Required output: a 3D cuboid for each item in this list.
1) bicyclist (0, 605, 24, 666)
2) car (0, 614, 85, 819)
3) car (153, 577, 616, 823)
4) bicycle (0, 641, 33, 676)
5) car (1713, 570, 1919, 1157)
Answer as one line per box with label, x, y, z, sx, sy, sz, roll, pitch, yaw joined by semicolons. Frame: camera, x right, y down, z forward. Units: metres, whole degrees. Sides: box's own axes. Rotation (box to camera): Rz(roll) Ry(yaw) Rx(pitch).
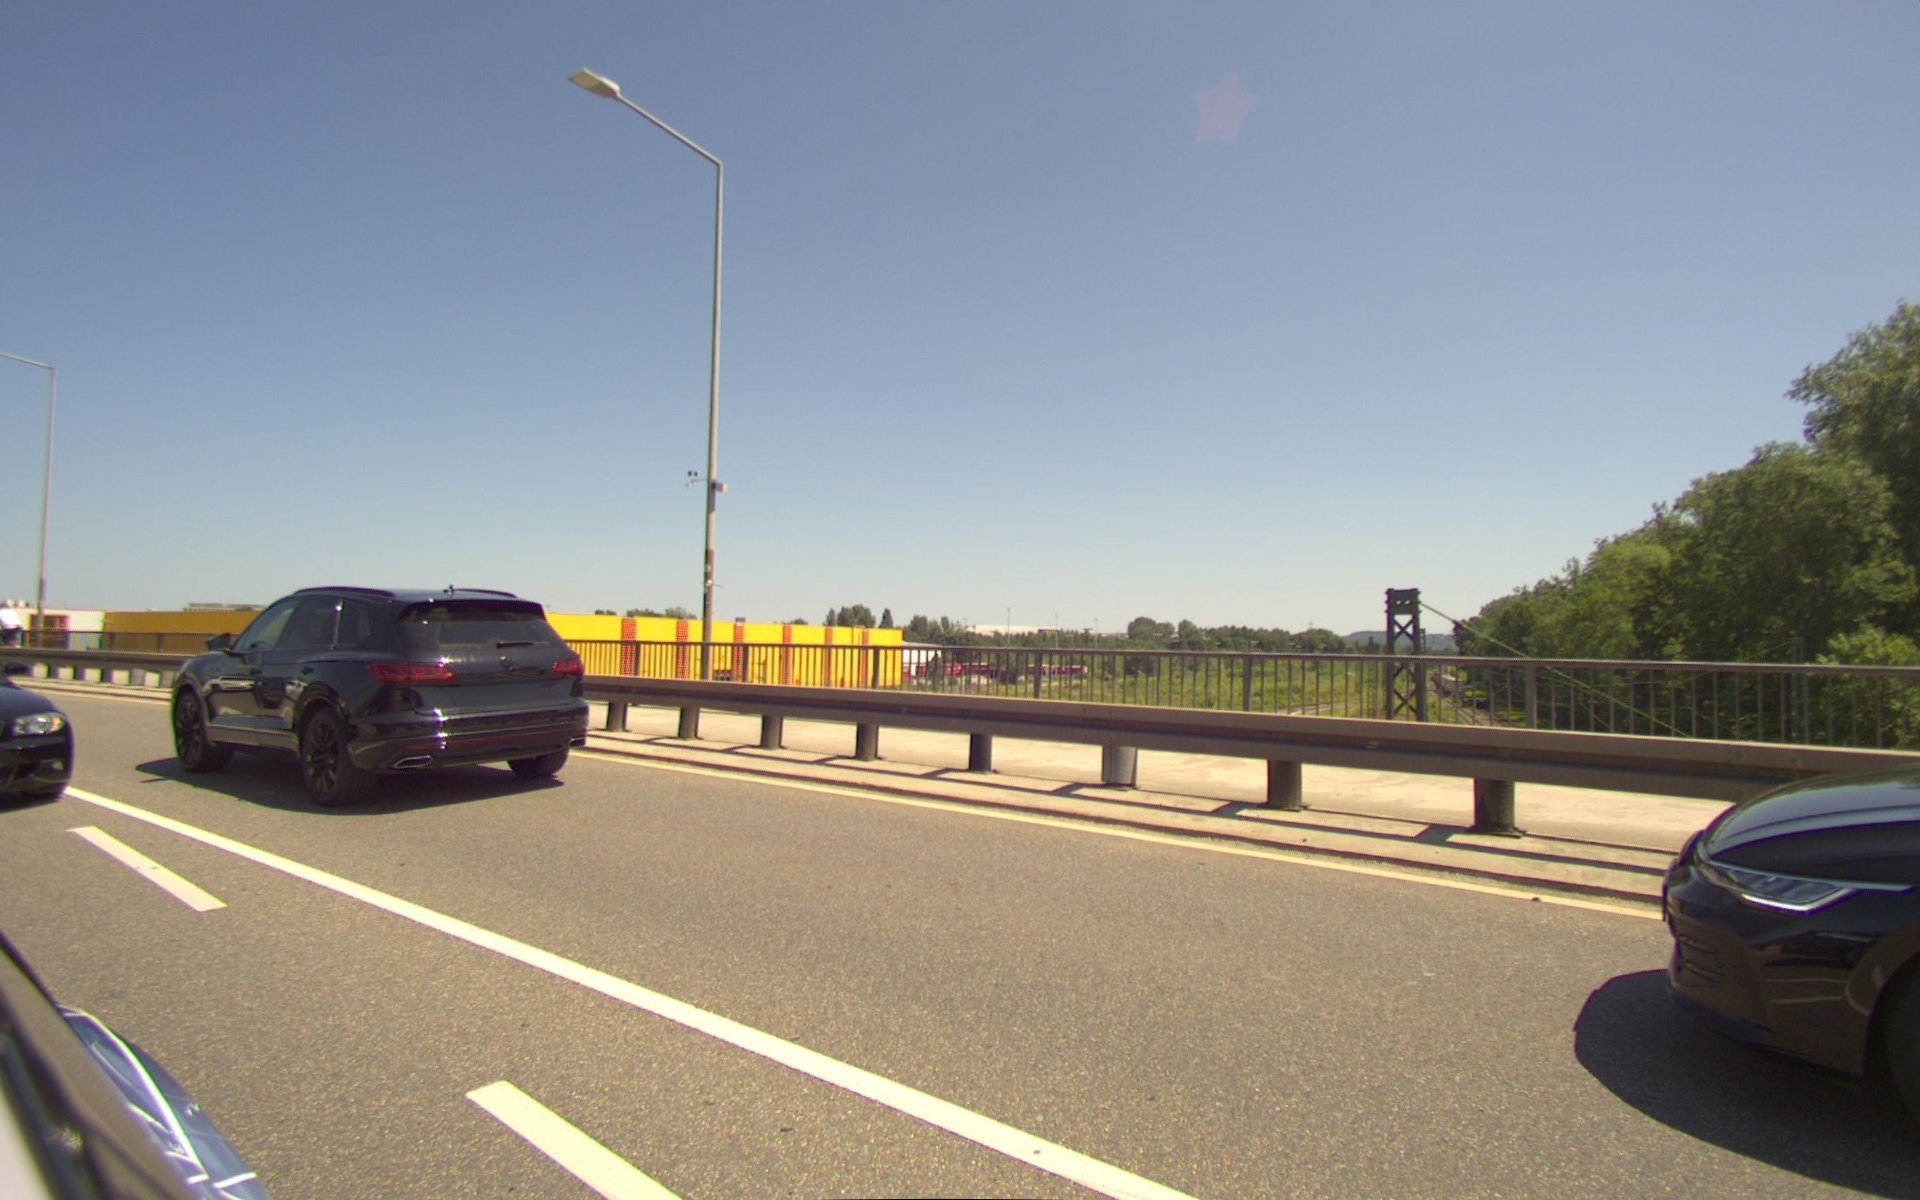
bicyclist;-24.585;0.903;25.925;0.891;1.533;0.580;-1;-1;26
car;-8.957;0.857;8.220;4.513;1.466;1.774;-1;-1;35
car;-5.316;0.732;9.121;4.605;1.686;1.948;-1;-2;37
bicycle;-24.590;1.482;25.916;1.980;0.840;0.585;-1;-1;26
car;4.341;0.642;2.007;4.457;1.480;1.692;-1;-1;41
